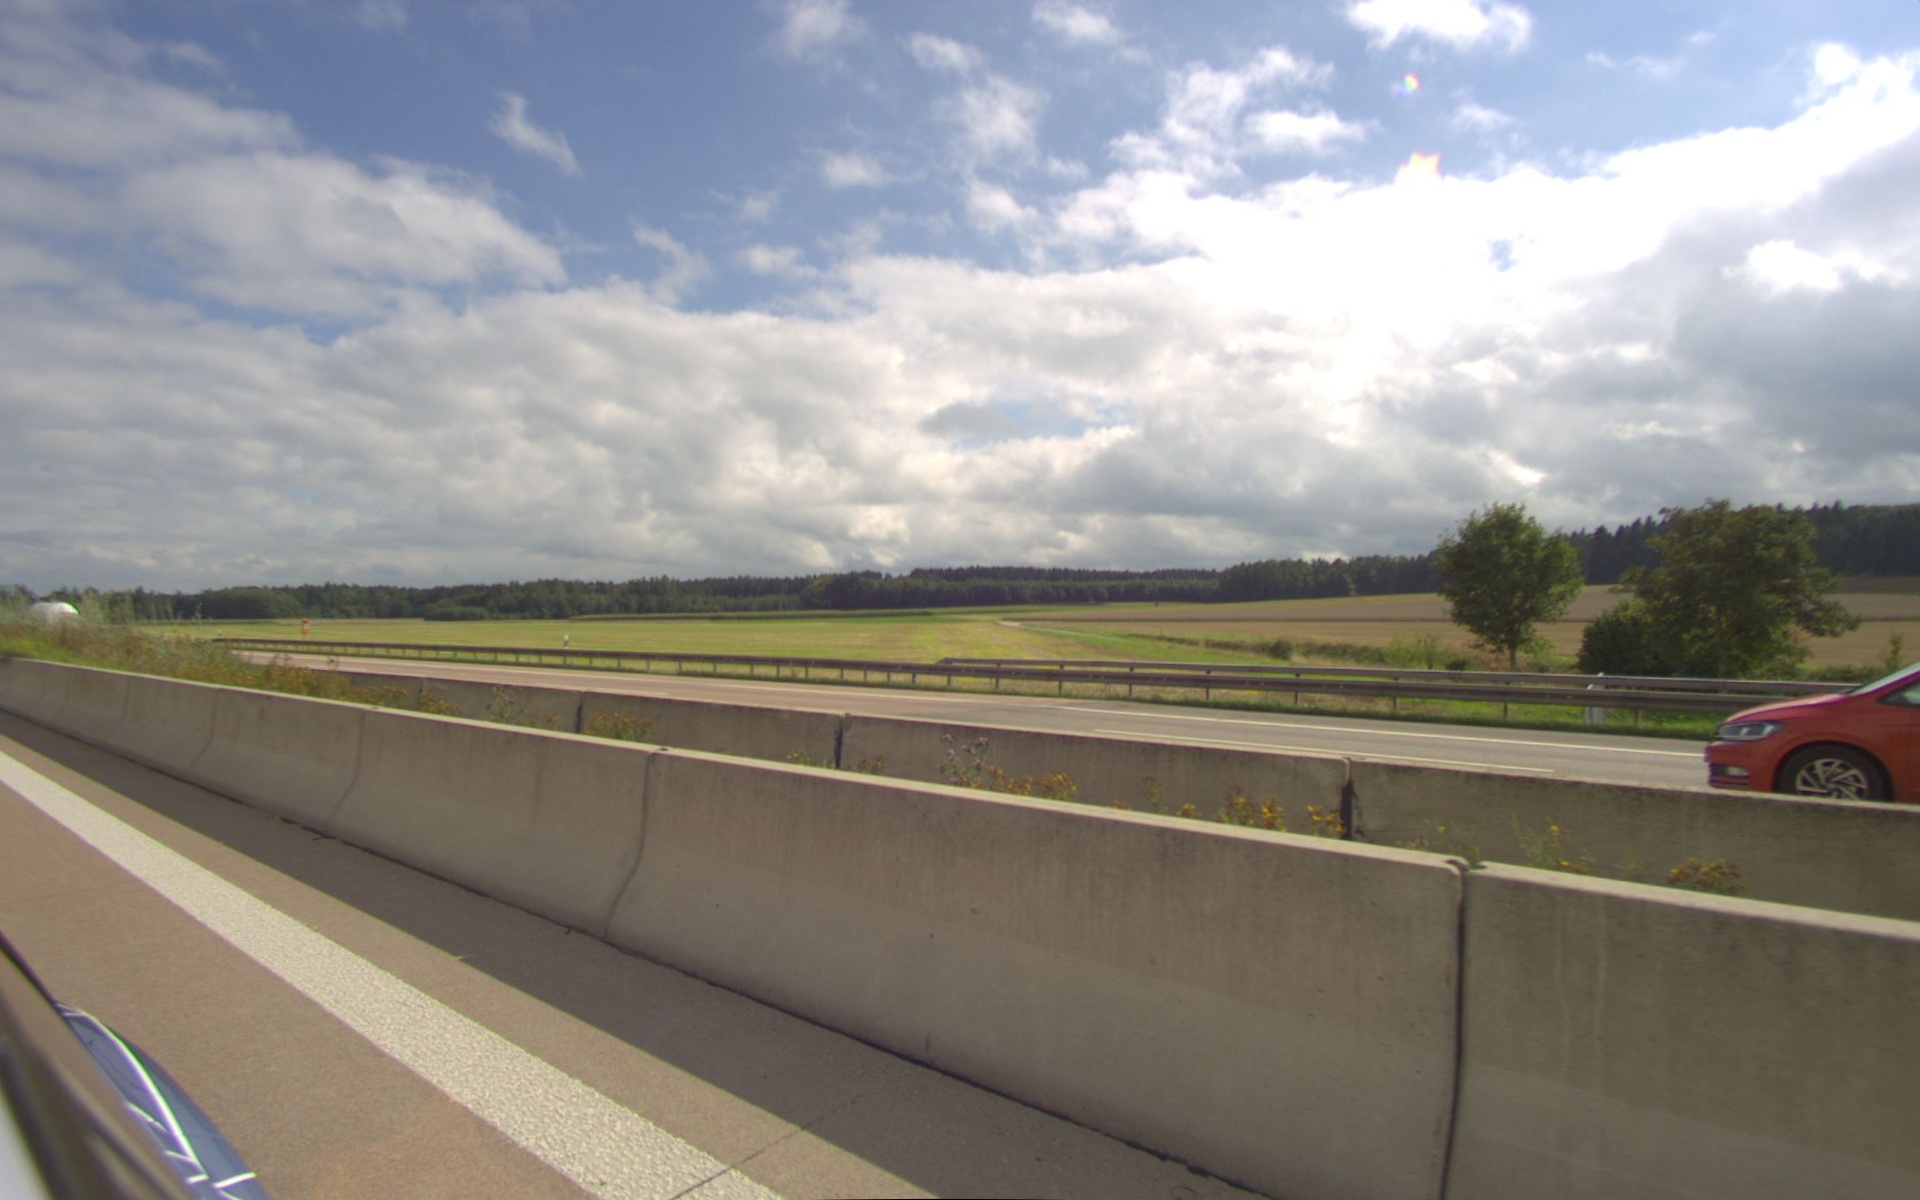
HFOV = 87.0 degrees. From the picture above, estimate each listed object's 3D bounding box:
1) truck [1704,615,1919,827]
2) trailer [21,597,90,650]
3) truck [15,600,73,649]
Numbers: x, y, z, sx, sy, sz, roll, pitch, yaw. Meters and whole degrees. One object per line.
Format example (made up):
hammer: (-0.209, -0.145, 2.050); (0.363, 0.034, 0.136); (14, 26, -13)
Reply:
truck: (8.656, 0.915, 7.476); (4.977, 1.586, 1.690); (-2, -4, 40)
trailer: (-75.909, 2.024, 84.845); (11.031, 4.130, 2.861); (-2, -3, 41)
truck: (-80.419, 2.145, 88.811); (6.331, 4.130, 2.861); (-2, -3, 41)
